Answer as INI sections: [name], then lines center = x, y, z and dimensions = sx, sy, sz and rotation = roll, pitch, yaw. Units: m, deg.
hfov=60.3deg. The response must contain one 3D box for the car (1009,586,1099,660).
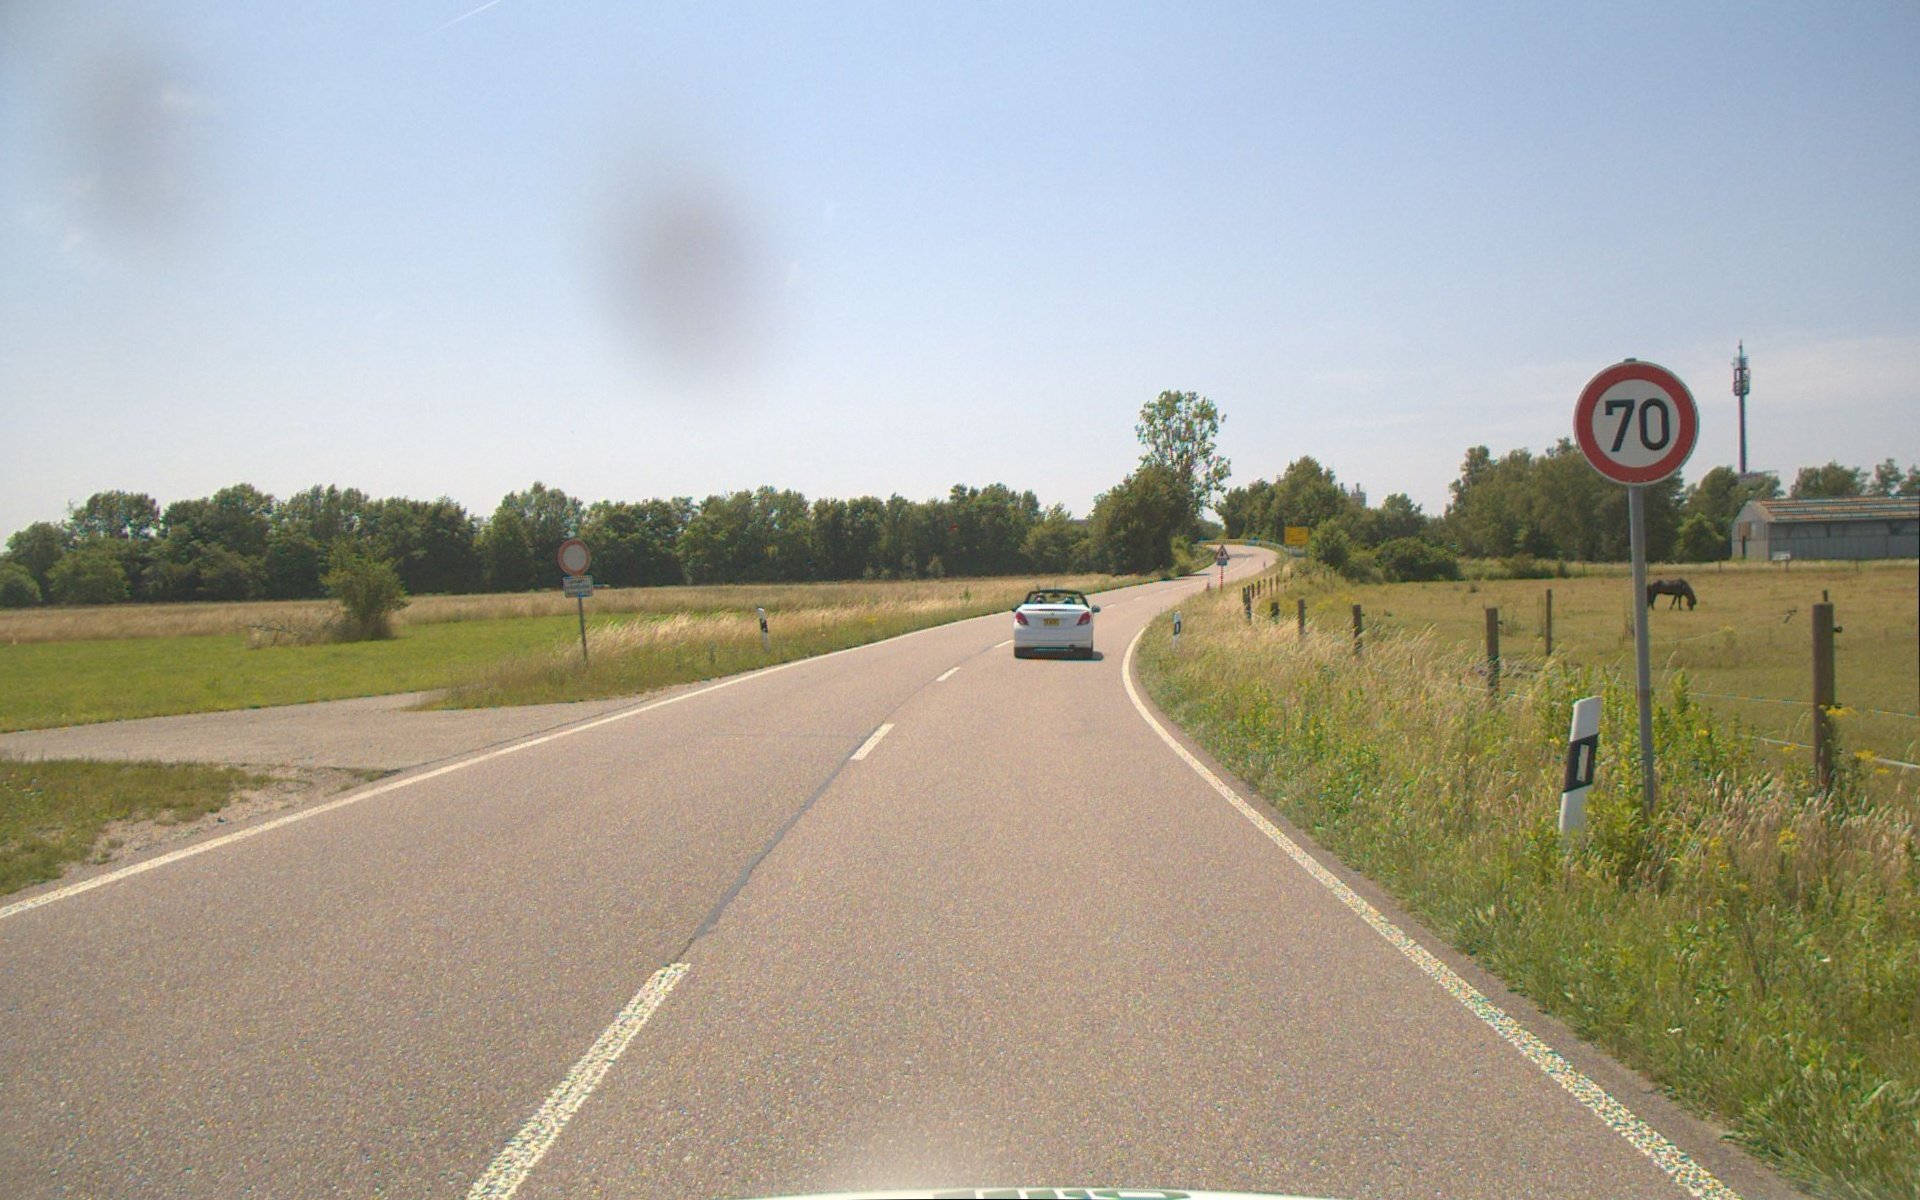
[car]
center = 2.048, 0.449, 35.674
dimensions = 1.812, 1.403, 4.003
rotation = 1, 1, 4
